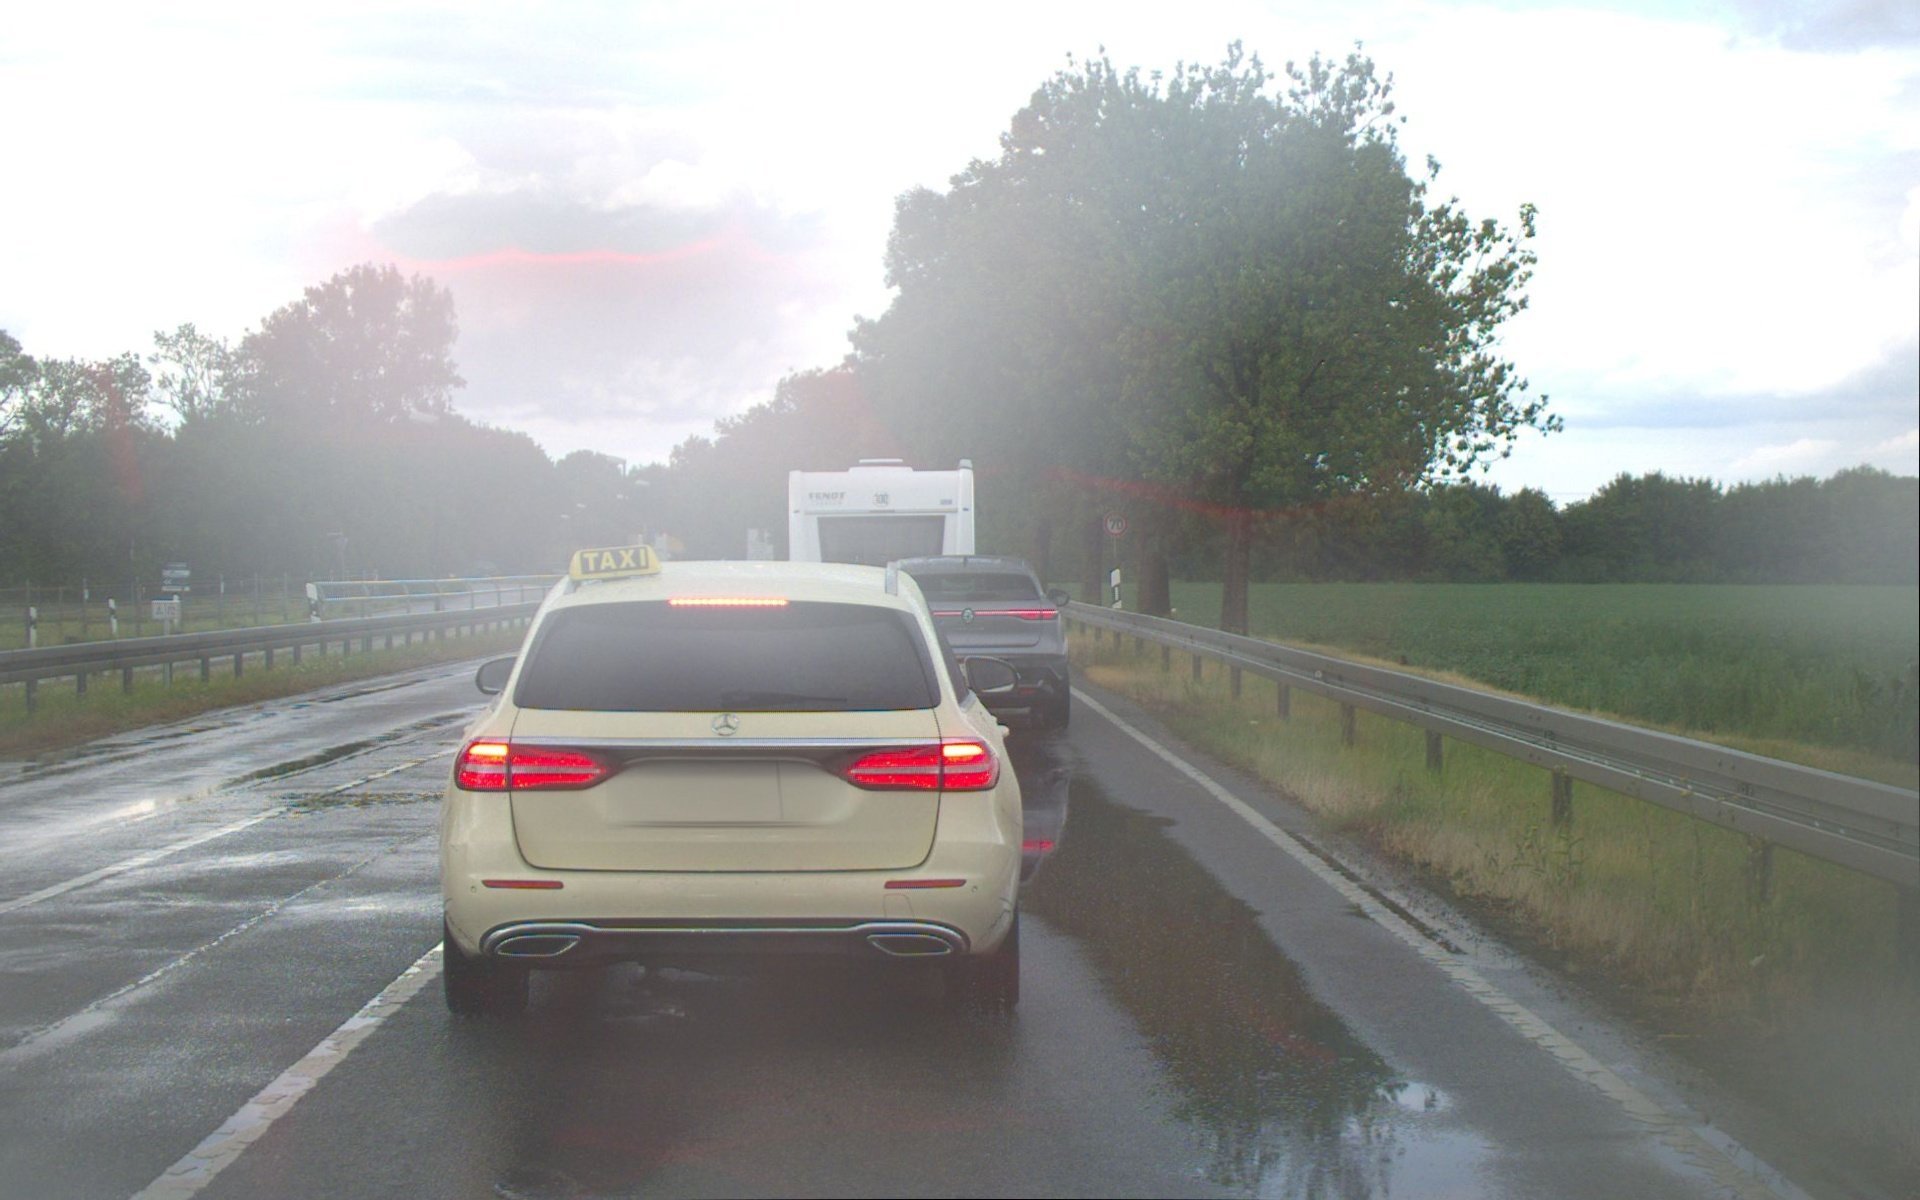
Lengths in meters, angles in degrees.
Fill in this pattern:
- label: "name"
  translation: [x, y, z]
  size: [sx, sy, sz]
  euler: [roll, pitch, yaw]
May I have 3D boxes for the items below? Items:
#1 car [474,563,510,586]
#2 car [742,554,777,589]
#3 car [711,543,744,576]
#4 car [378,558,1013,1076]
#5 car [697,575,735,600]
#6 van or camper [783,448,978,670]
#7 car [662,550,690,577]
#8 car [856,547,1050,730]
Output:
- label: "car"
  translation: [-33.805, -1.871, 248.402]
  size: [1.993, 1.645, 4.000]
  euler: [0, 1, 1]
- label: "car"
  translation: [-11.778, -1.689, 201.437]
  size: [1.993, 2.044, 4.001]
  euler: [0, 1, -4]
- label: "car"
  translation: [-14.528, -2.529, 215.027]
  size: [1.993, 2.007, 4.000]
  euler: [0, 1, -3]
- label: "car"
  translation: [-0.734, 0.598, 11.952]
  size: [1.825, 1.480, 4.145]
  euler: [0, 1, 1]
- label: "car"
  translation: [-12.850, -0.662, 181.181]
  size: [1.758, 1.265, 4.000]
  euler: [0, 1, 0]
- label: "van or camper"
  translation: [-0.972, -0.554, 44.249]
  size: [2.350, 2.671, 5.768]
  euler: [0, 1, 0]
- label: "car"
  translation: [-21.362, -2.766, 258.384]
  size: [1.993, 2.007, 4.001]
  euler: [0, 1, -6]
- label: "car"
  translation: [-0.069, 0.295, 30.764]
  size: [1.627, 1.524, 3.933]
  euler: [0, 1, 0]
